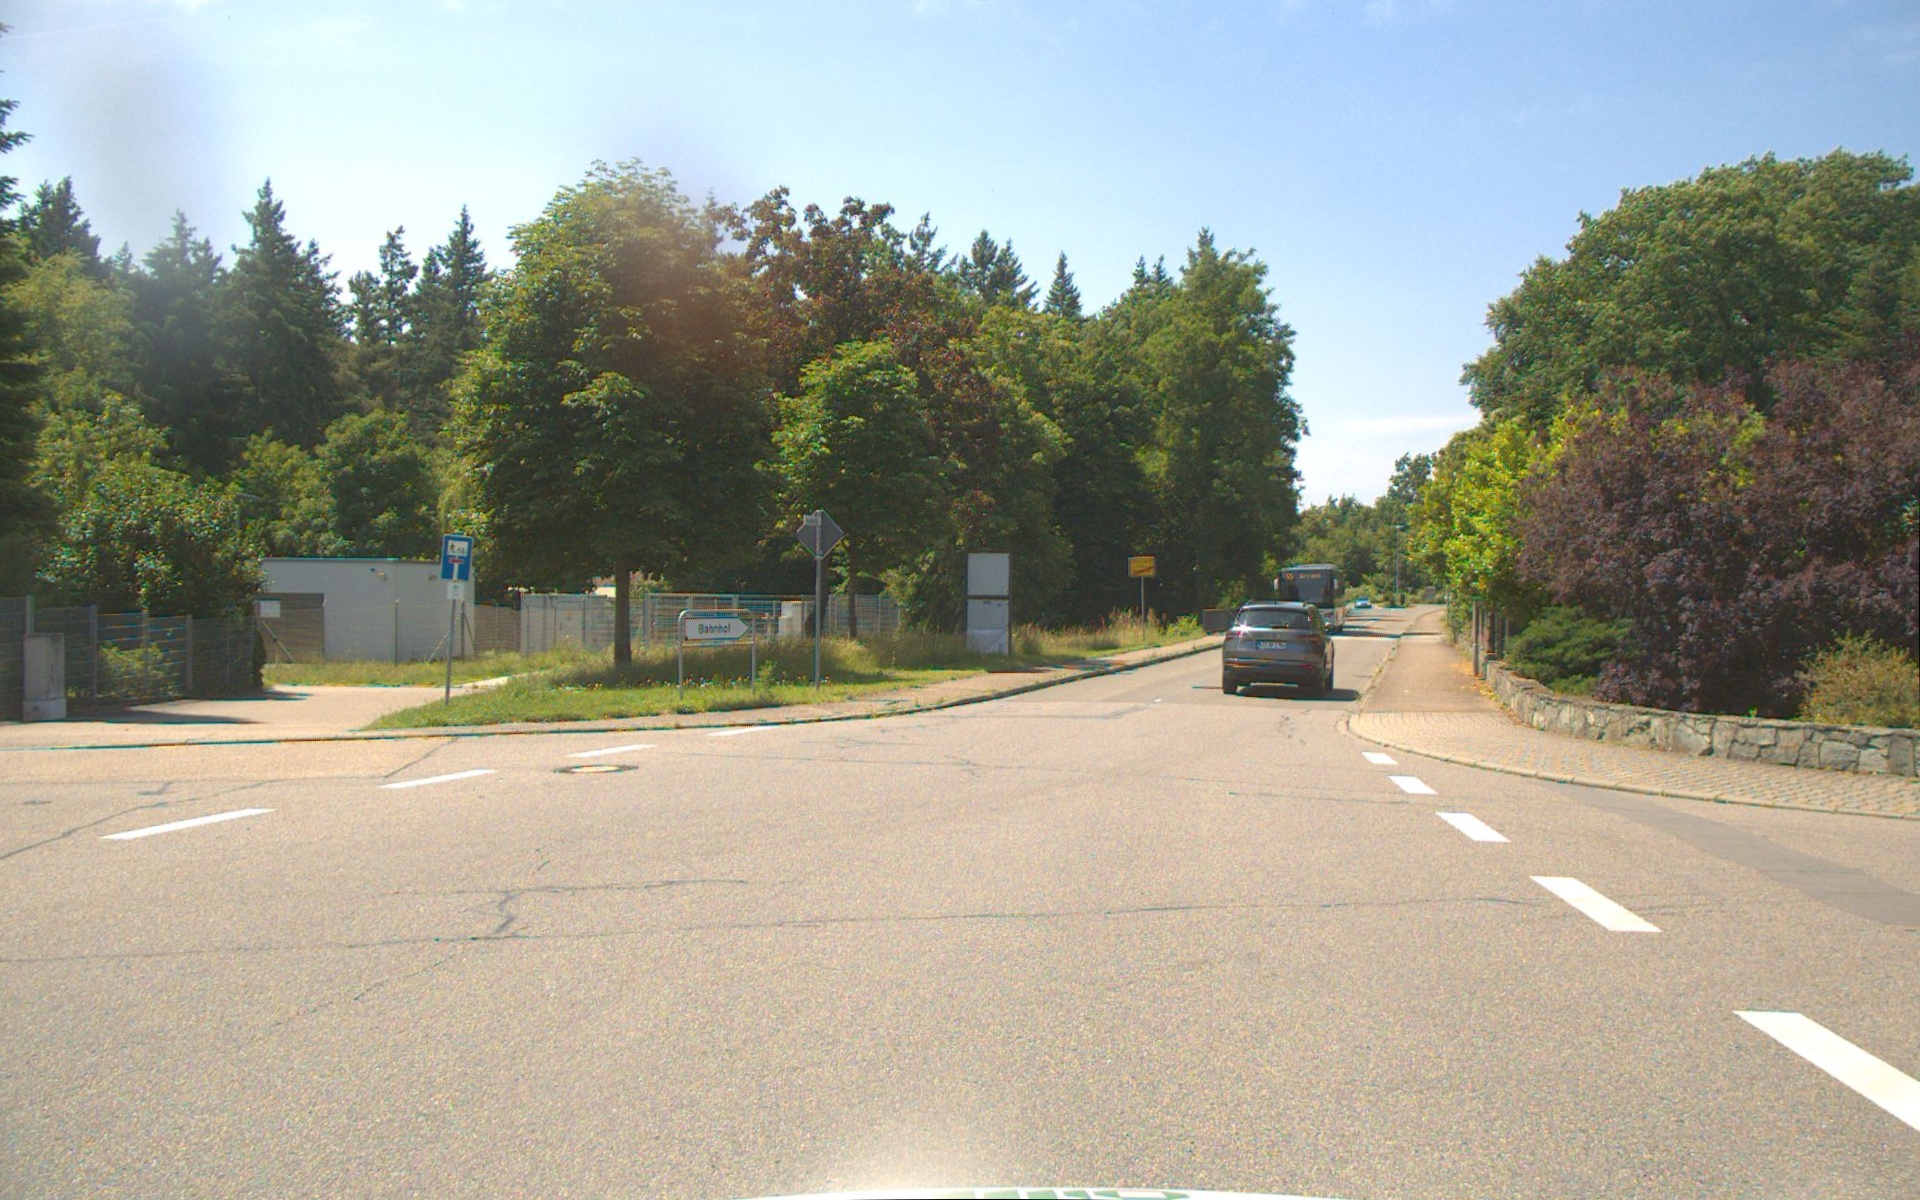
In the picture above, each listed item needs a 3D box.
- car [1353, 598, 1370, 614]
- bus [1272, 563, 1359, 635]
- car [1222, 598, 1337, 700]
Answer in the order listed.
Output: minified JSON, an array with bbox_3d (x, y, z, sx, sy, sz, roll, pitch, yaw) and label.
[{"bbox_3d":[50.616,0.757,208.665,1.909,1.892,4.003,0,0,12],"label":"car"},{"bbox_3d":[17.953,-0.050,82.887,3.114,3.301,12.718,0,0,17],"label":"bus"},{"bbox_3d":[5.806,0.843,29.712,1.725,1.646,4.003,2,0,15],"label":"car"}]
